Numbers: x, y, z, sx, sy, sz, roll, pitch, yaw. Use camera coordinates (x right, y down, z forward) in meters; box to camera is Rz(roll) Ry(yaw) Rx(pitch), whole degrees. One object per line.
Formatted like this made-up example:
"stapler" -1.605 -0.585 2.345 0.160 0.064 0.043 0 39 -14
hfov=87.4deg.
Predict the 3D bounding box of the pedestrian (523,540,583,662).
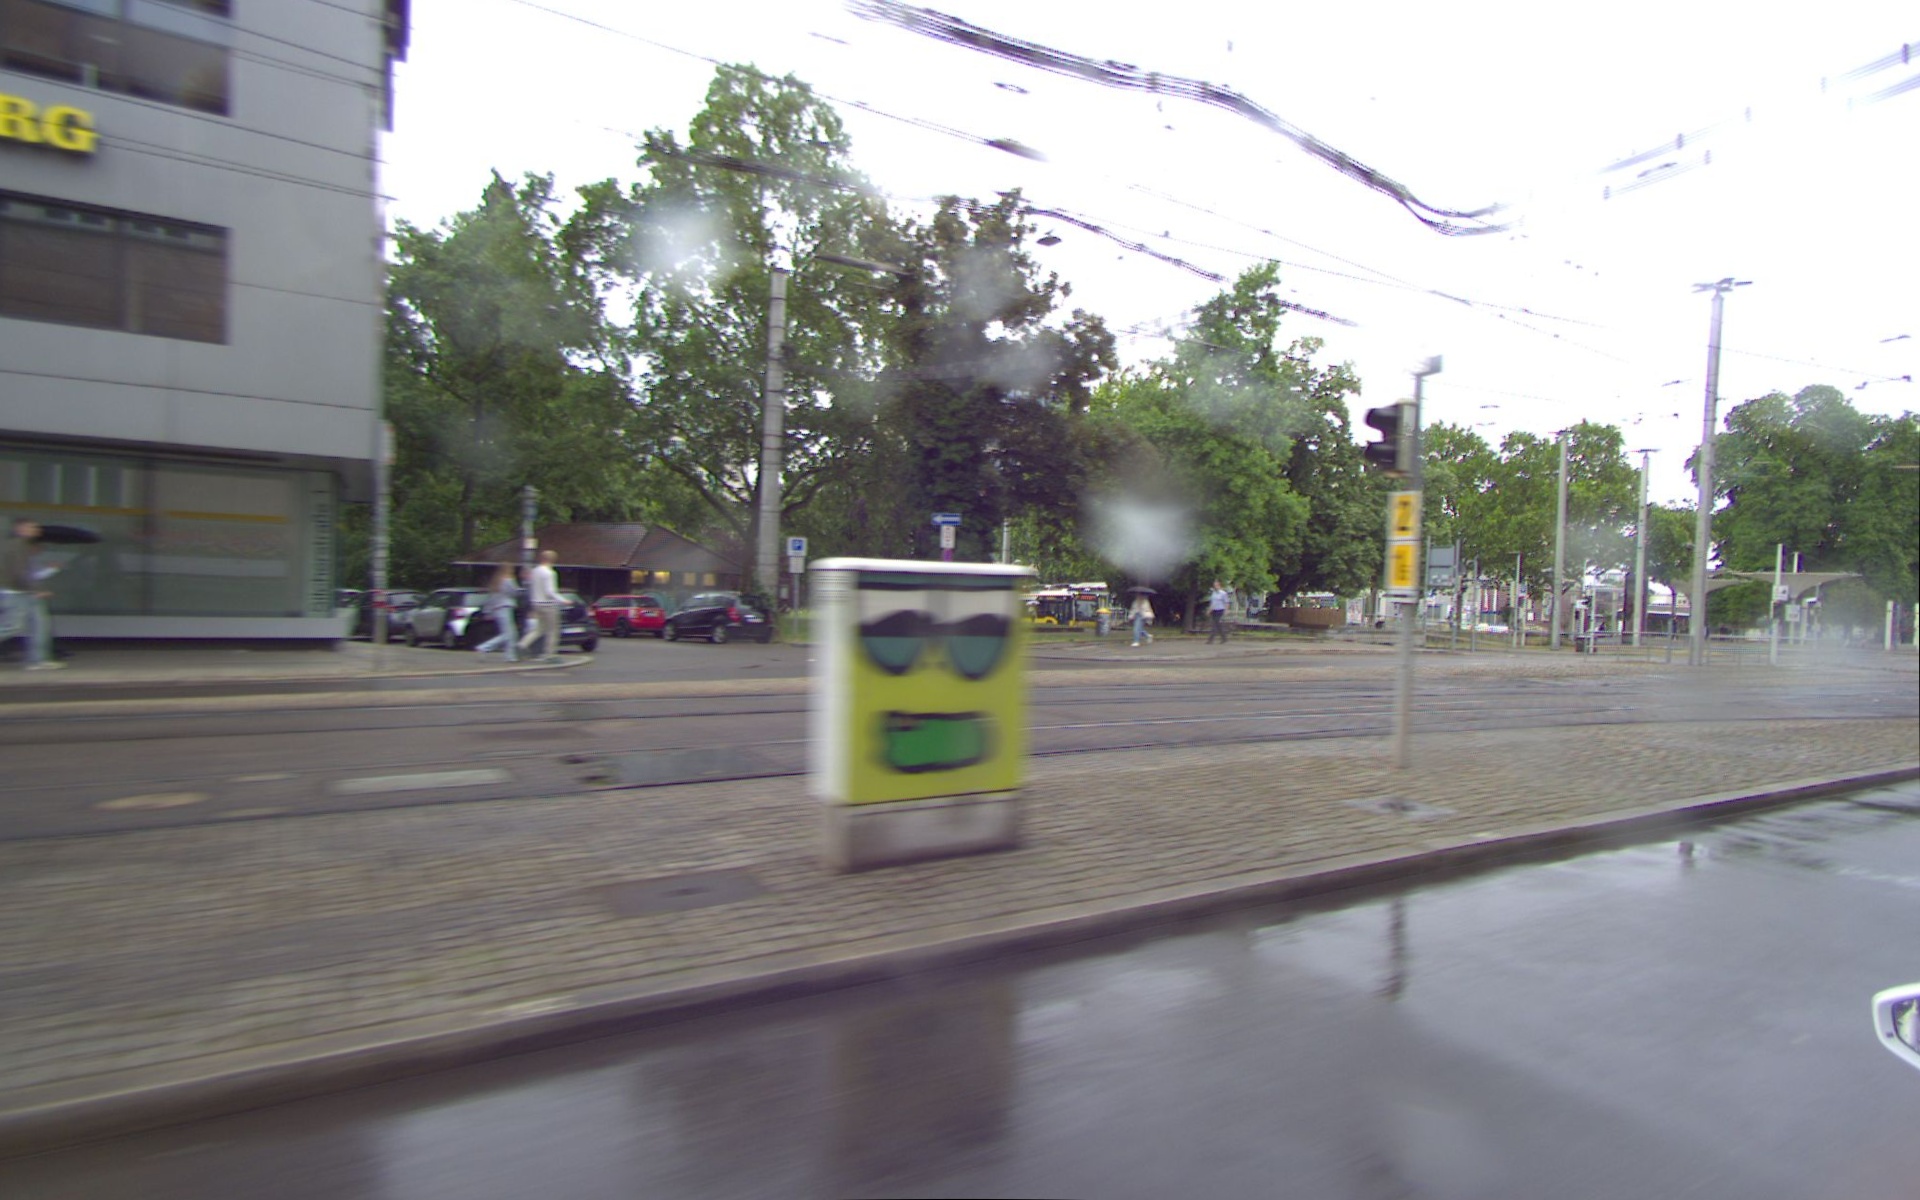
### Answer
"pedestrian" -7.031 0.005 17.359 0.650 2.041 0.616 4 2 22

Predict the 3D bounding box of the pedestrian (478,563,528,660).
"pedestrian" -7.815 0.187 17.195 0.625 1.615 0.587 3 2 -13

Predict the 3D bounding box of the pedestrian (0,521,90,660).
"pedestrian" -12.836 -0.145 13.973 0.954 1.840 0.663 4 2 14

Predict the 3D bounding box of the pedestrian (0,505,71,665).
"pedestrian" -12.230 -0.200 13.161 0.804 2.041 0.655 1 3 -40

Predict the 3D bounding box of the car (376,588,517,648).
"car" -13.583 0.457 26.515 3.678 1.473 1.698 1 -1 33

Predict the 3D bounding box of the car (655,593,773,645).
"car" -7.501 0.569 30.571 3.485 1.467 1.696 1 -1 38

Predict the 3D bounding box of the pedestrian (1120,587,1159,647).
"pedestrian" 5.099 0.470 28.568 0.895 1.615 1.003 3 2 4

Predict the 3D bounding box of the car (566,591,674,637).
"car" -11.599 0.454 34.213 3.481 1.467 1.698 1 -1 34

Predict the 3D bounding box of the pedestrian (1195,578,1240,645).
"pedestrian" 7.603 0.334 29.730 0.896 1.888 1.002 3 2 -4

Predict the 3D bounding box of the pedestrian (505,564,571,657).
"pedestrian" -7.581 0.189 18.044 0.956 1.615 0.583 2 2 -33

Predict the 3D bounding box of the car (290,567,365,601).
"car" -29.472 -0.733 46.756 3.481 1.467 1.698 1 -1 34

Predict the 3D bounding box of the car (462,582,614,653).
"car" -10.174 0.388 24.145 3.680 1.571 1.697 1 -1 36
